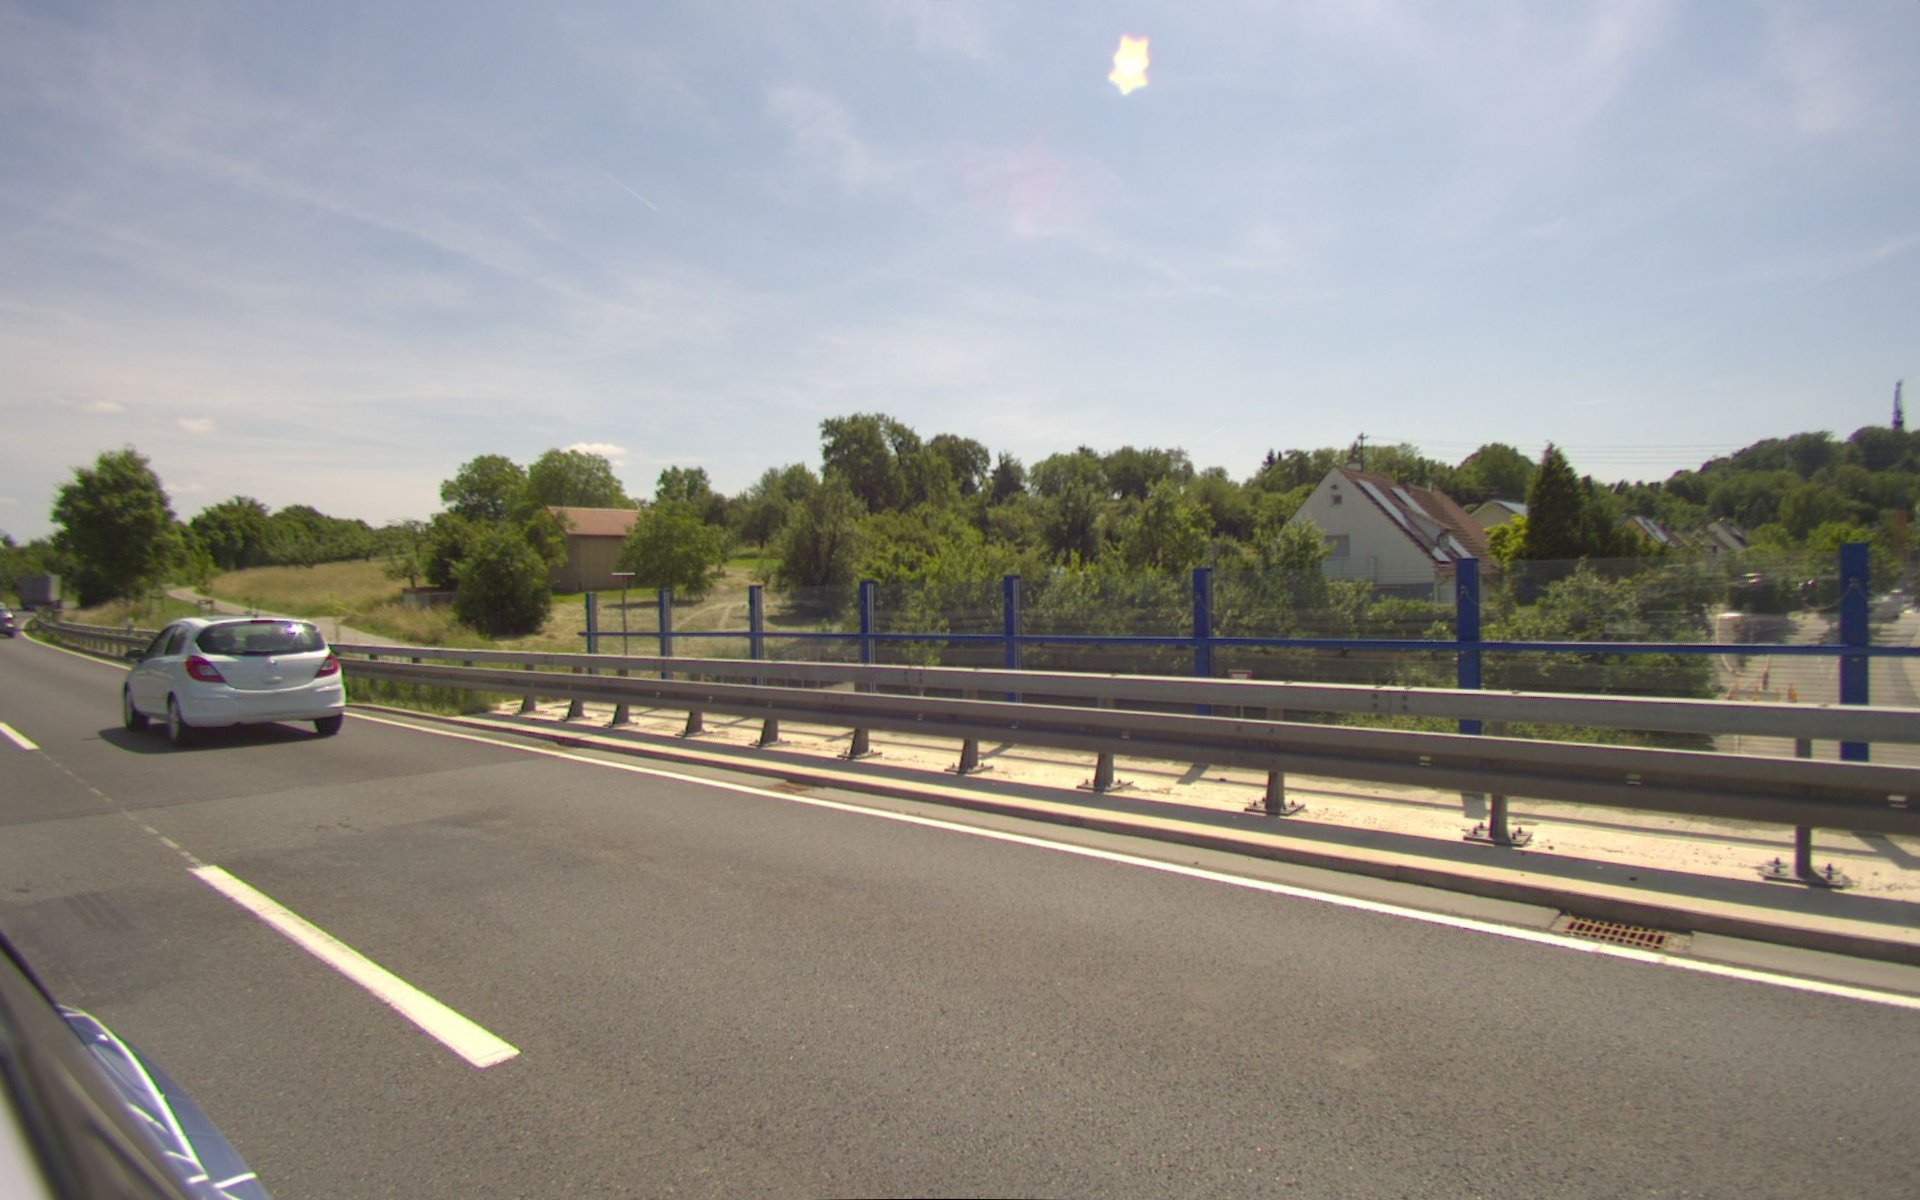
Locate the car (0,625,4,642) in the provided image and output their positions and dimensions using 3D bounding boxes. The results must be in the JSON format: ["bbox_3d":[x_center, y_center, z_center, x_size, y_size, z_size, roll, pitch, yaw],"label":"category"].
[{"bbox_3d":[-80.533,2.759,83.967,1.626,1.452,4.164,2,-2,-41],"label":"car"}]

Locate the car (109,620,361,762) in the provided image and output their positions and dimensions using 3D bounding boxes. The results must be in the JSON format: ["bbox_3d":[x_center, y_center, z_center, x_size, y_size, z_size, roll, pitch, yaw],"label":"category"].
[{"bbox_3d":[-9.267,1.011,12.812,4.117,1.516,1.689,-1,-2,41],"label":"car"}]

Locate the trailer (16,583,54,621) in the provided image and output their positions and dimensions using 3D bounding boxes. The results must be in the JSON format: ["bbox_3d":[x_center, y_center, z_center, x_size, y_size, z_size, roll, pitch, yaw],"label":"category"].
[{"bbox_3d":[-109.287,0.307,119.708,2.414,4.216,14.040,1,-1,-39],"label":"trailer"}]

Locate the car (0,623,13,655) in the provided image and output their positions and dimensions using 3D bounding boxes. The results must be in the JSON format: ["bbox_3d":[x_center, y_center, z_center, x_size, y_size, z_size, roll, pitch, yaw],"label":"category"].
[{"bbox_3d":[-50.464,2.026,52.417,4.380,1.601,1.786,-1,-1,44],"label":"car"}]
